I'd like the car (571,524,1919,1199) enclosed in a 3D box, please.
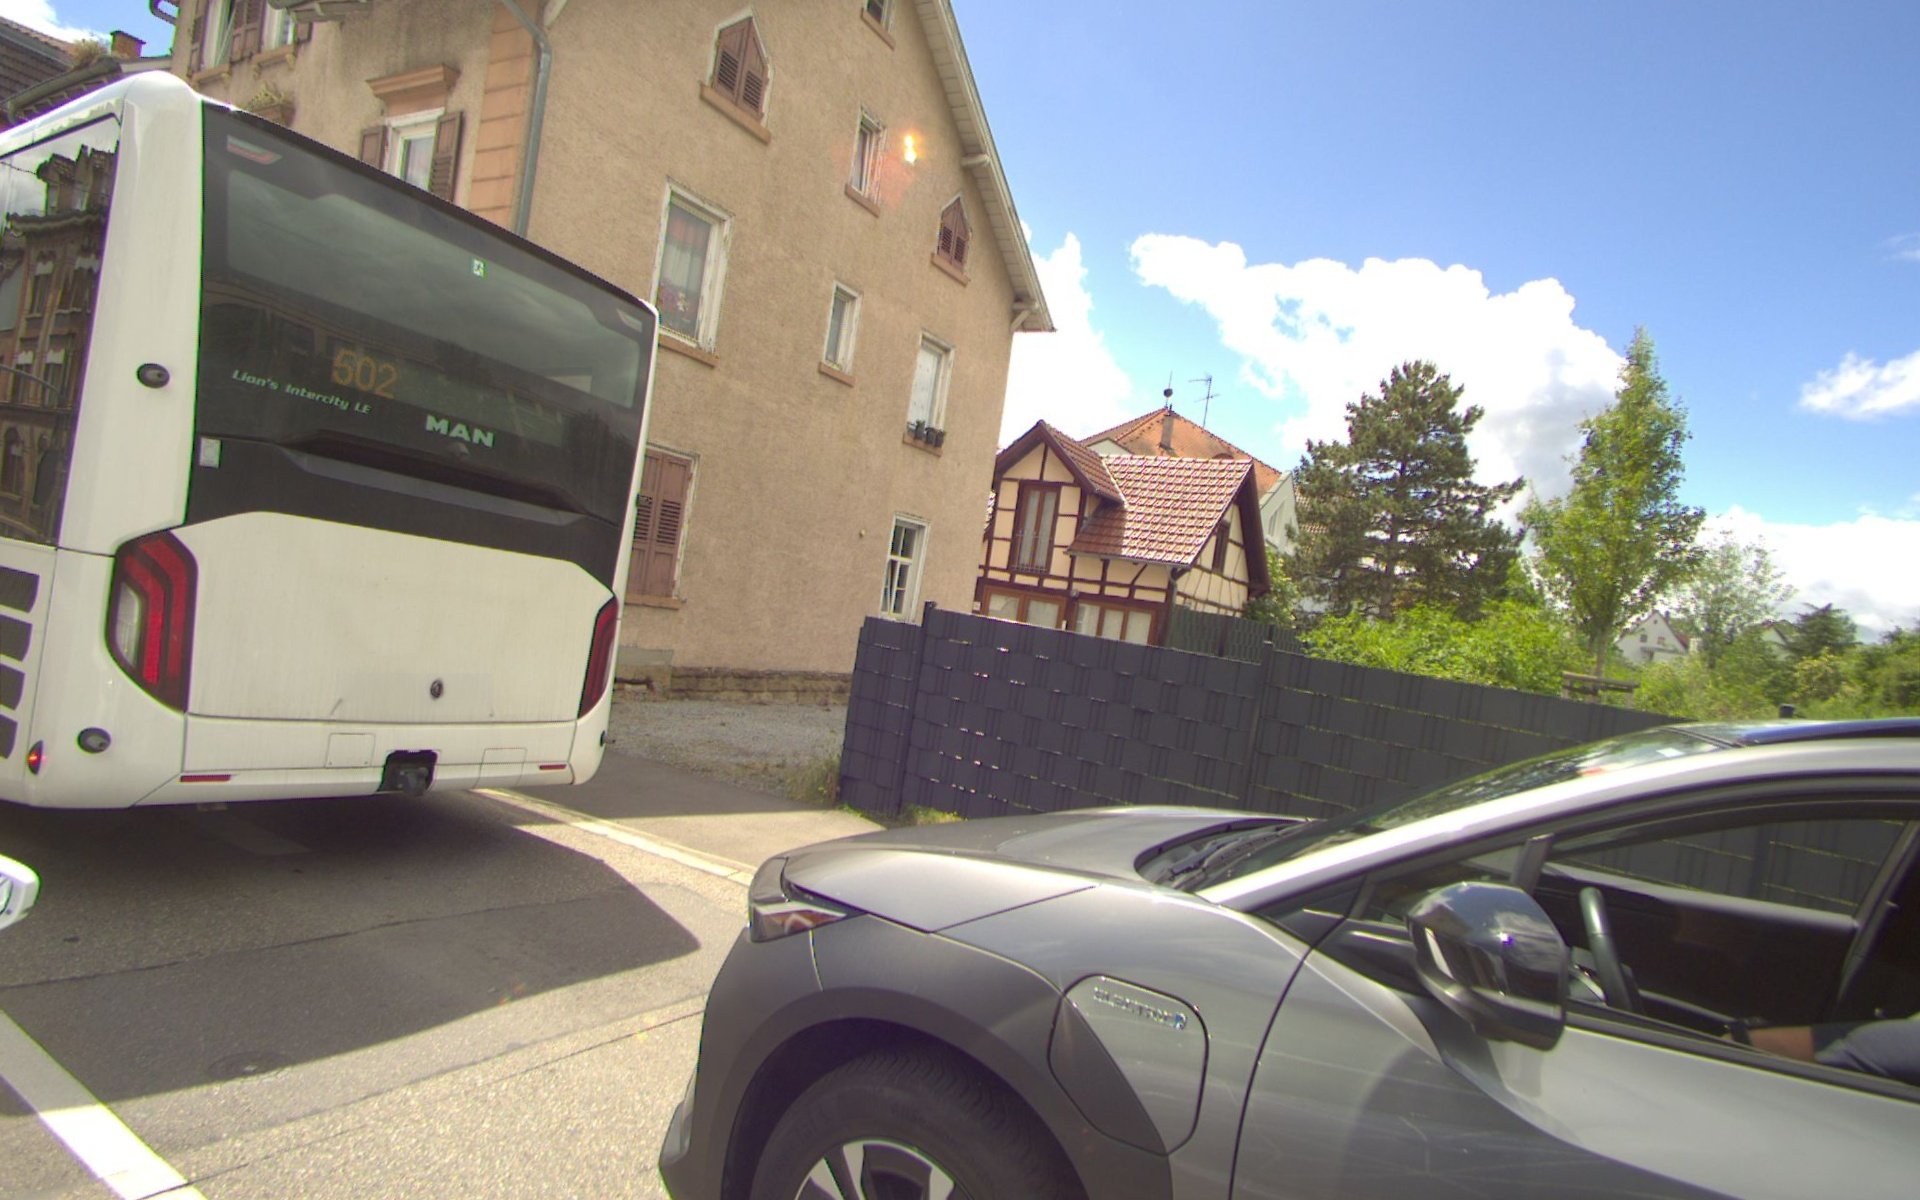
[{"bbox_3d":[1.650,0.964,1.869,4.504,1.648,1.997,7,-1,31],"label":"car"}]

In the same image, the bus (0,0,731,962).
[{"bbox_3d":[-7.465,-0.978,7.793,12.281,3.551,2.910,6,-2,32],"label":"bus"}]
